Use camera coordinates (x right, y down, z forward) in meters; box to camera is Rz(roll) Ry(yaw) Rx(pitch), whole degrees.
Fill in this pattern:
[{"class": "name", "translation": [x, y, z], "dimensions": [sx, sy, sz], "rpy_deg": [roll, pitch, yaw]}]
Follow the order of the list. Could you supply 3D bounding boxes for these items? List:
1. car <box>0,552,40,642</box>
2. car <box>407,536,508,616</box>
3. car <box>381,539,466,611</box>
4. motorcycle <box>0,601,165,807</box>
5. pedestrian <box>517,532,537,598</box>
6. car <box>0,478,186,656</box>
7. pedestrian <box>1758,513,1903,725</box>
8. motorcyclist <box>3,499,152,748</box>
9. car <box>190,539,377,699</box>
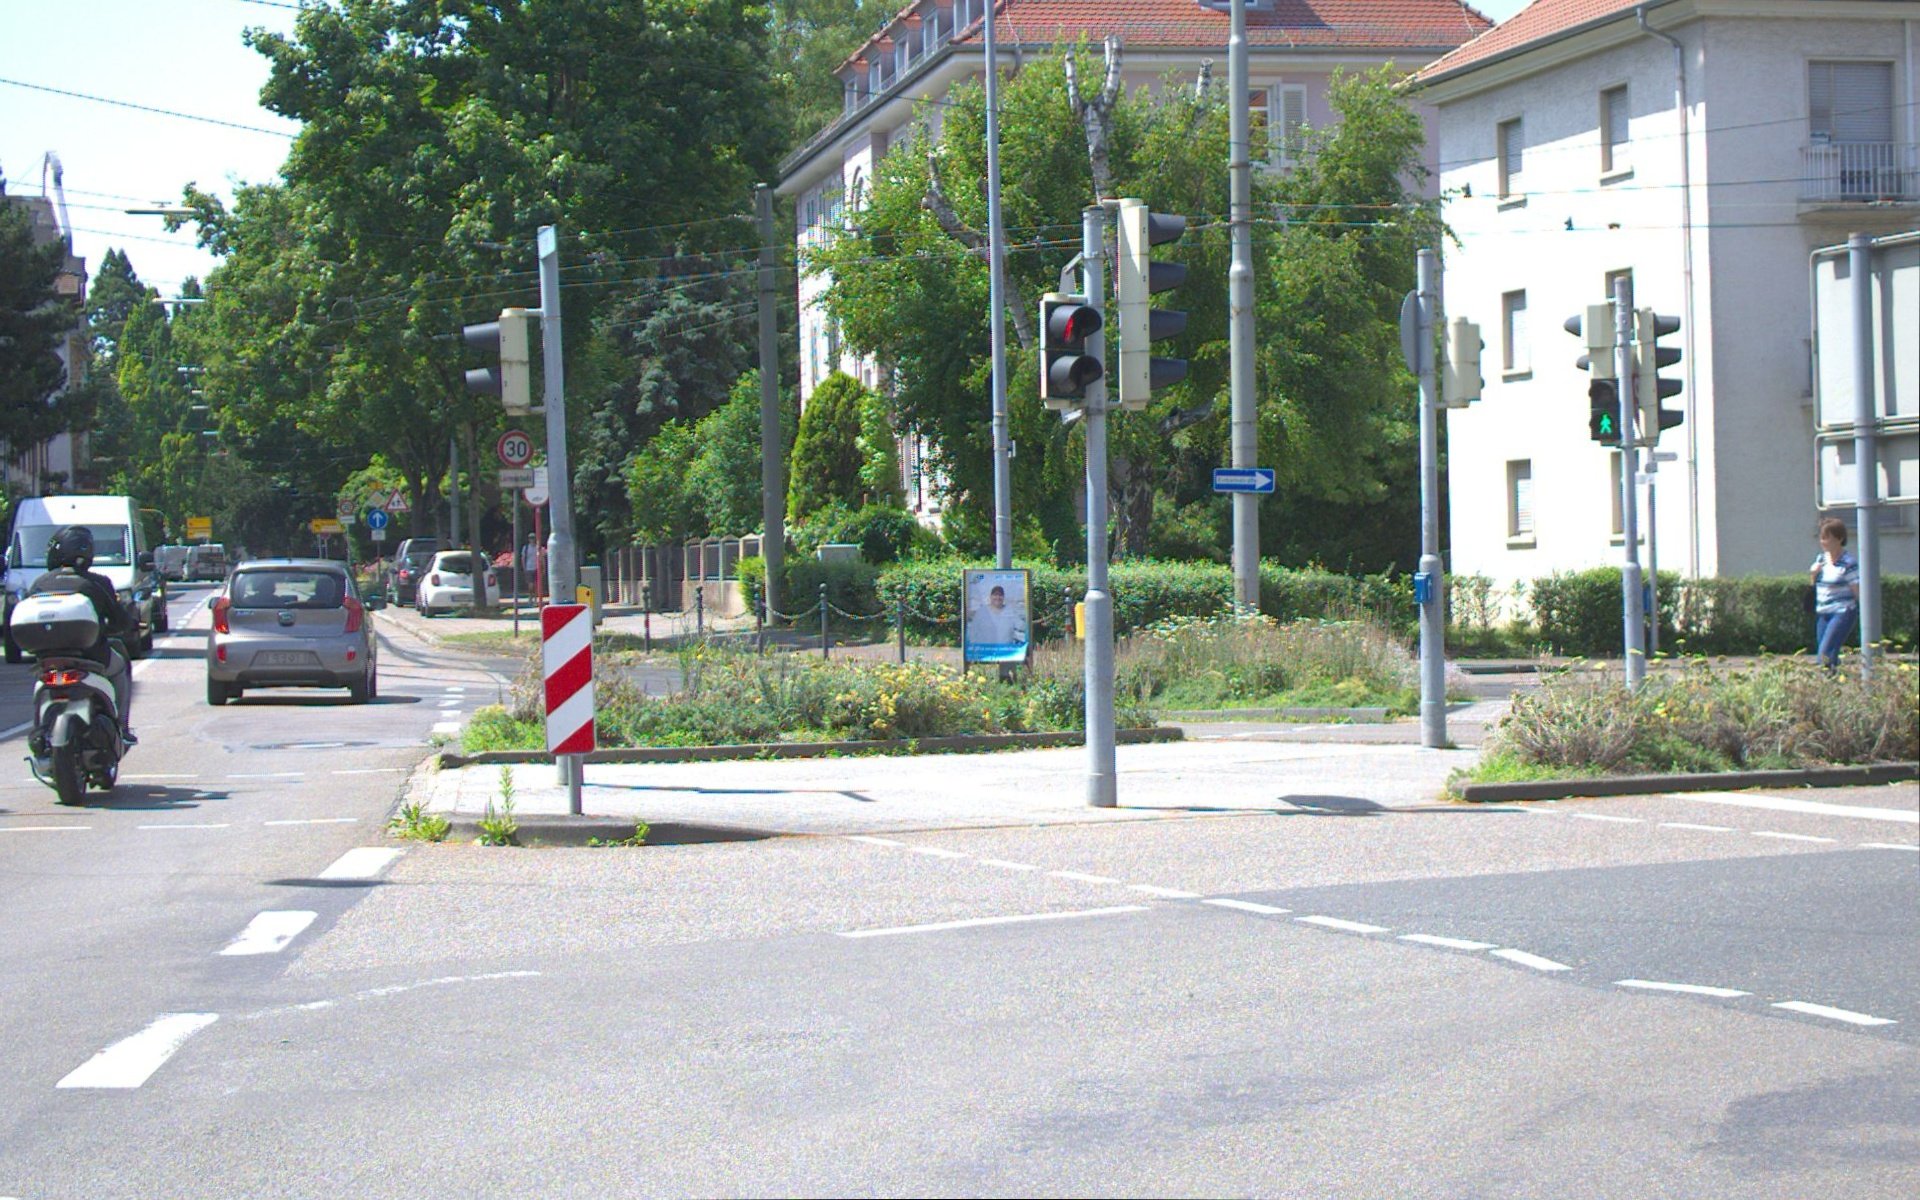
[{"class": "car", "translation": [-19.604, -0.102, 68.889], "dimensions": [1.798, 1.712, 4.038], "rpy_deg": [2, 0, -9]}, {"class": "car", "translation": [-11.690, -0.577, 79.792], "dimensions": [1.993, 1.801, 4.001], "rpy_deg": [0, 1, -13]}, {"class": "car", "translation": [-14.540, -0.699, 92.973], "dimensions": [1.993, 1.900, 4.001], "rpy_deg": [0, 1, -13]}, {"class": "motorcycle", "translation": [-5.282, 0.592, 20.704], "dimensions": [0.711, 1.130, 2.198], "rpy_deg": [-1, 1, -7]}, {"class": "pedestrian", "translation": [-10.960, -0.886, 87.046], "dimensions": [0.508, 1.650, 0.466], "rpy_deg": [0, 1, -7]}, {"class": "car", "translation": [-13.773, -0.530, 54.868], "dimensions": [2.215, 2.492, 7.556], "rpy_deg": [-4, 1, -10]}, {"class": "pedestrian", "translation": [7.100, 0.146, 28.059], "dimensions": [0.835, 1.699, 0.762], "rpy_deg": [-1, 1, -27]}, {"class": "motorcyclist", "translation": [-5.275, 0.128, 20.599], "dimensions": [0.711, 1.440, 1.019], "rpy_deg": [-1, 1, -7]}, {"class": "car", "translation": [-7.054, 0.157, 35.981], "dimensions": [1.798, 1.552, 4.038], "rpy_deg": [-1, 1, -11]}]
